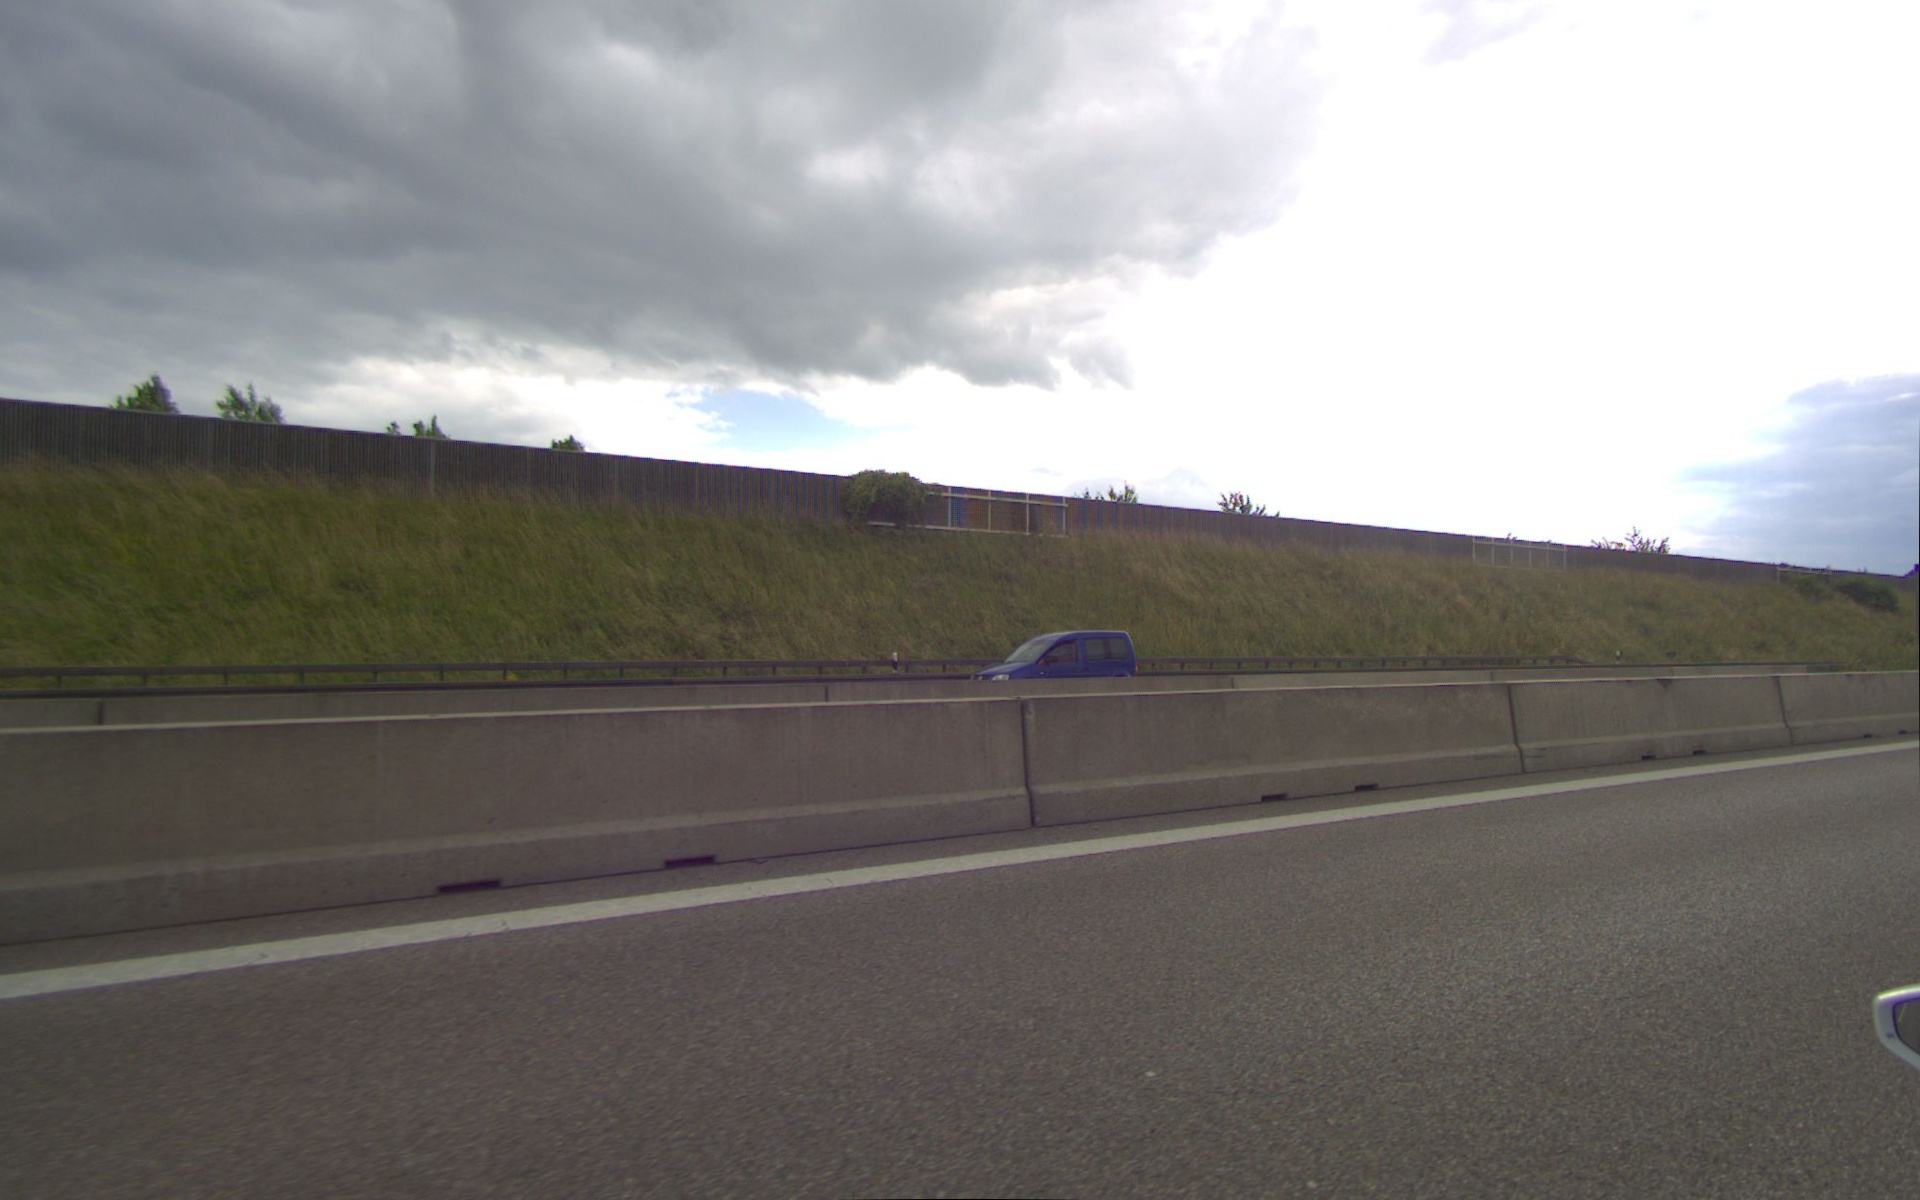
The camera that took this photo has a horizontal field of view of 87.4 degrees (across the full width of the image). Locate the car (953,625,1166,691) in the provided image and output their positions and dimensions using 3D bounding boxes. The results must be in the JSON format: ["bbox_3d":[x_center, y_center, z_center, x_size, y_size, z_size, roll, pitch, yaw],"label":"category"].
[{"bbox_3d":[2.434,1.348,24.195,4.883,1.382,1.984,1,0,-31],"label":"car"}]
